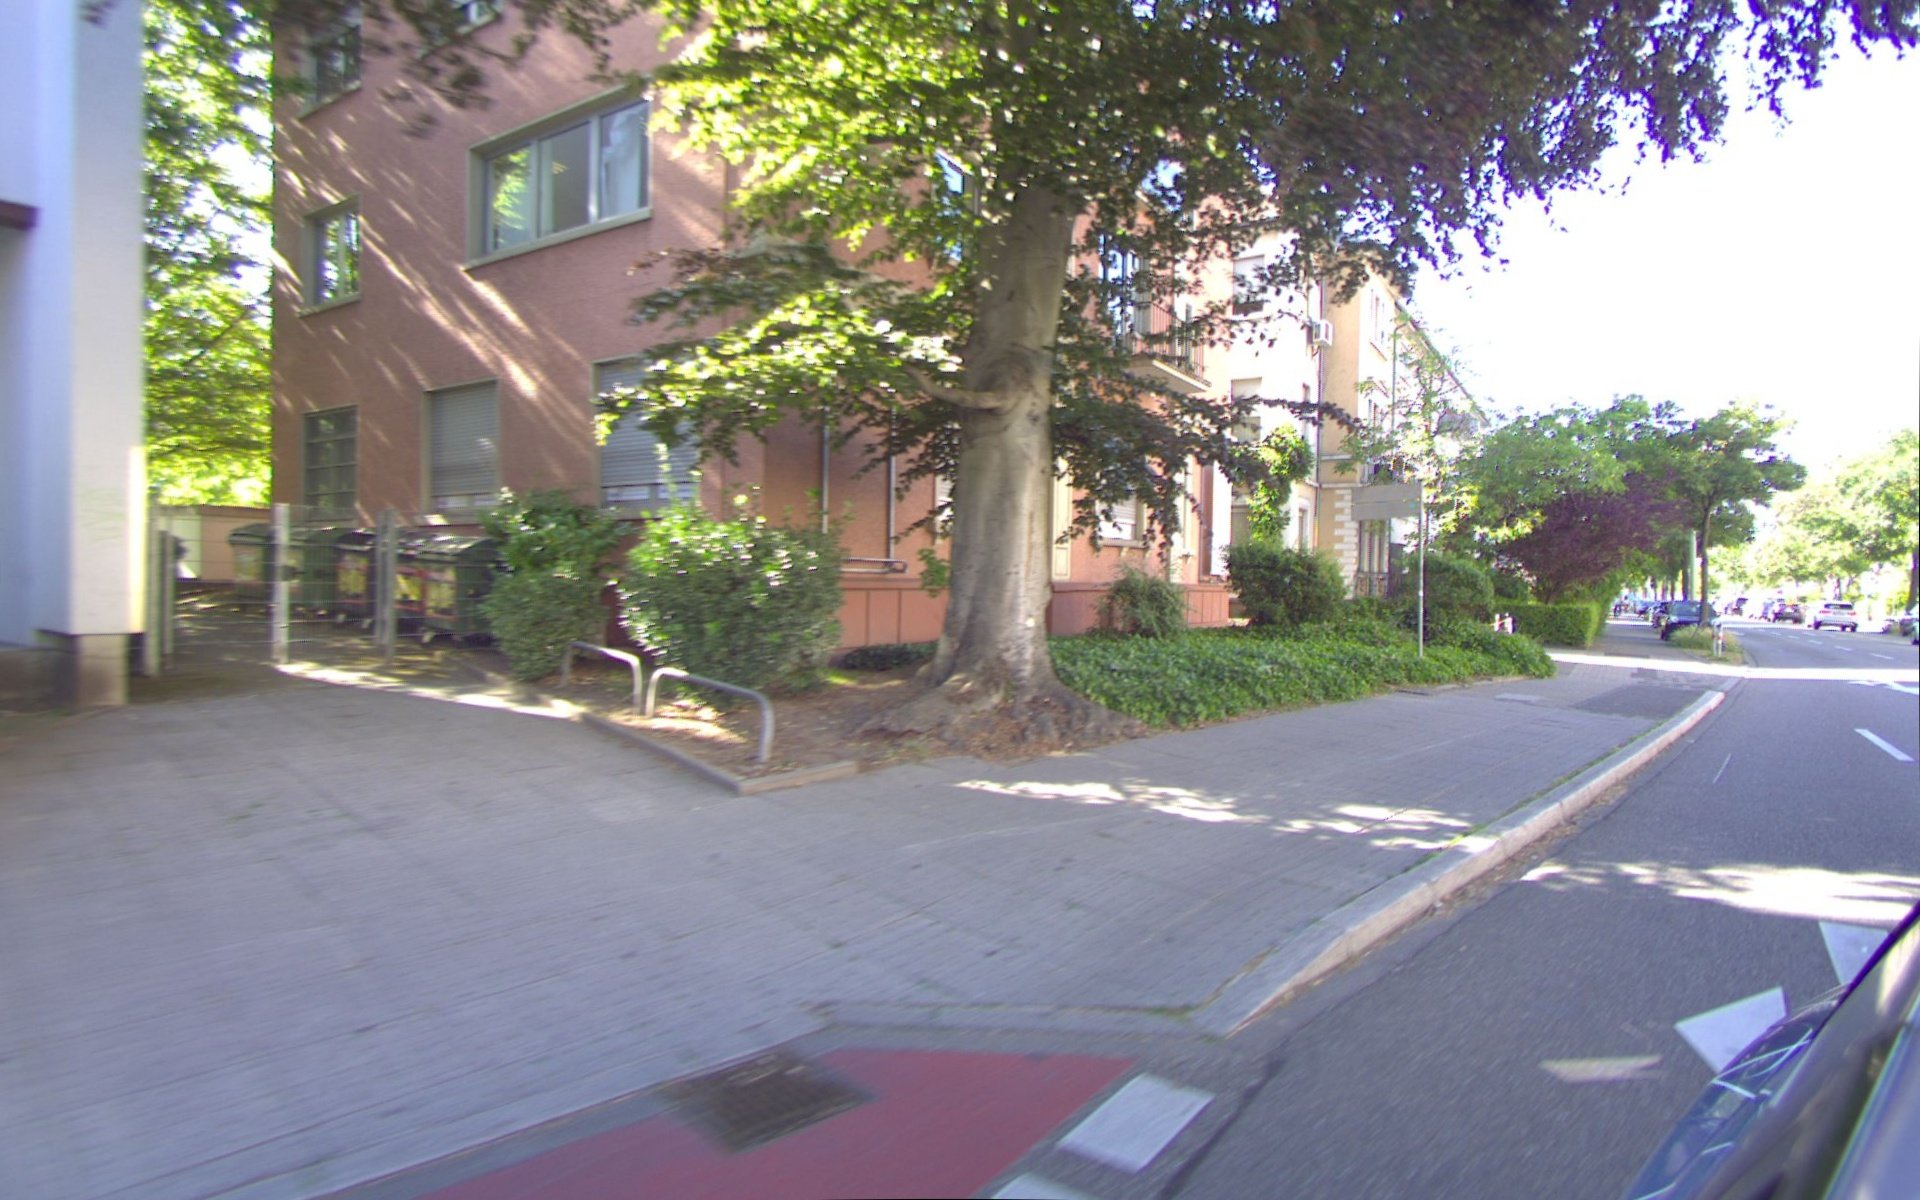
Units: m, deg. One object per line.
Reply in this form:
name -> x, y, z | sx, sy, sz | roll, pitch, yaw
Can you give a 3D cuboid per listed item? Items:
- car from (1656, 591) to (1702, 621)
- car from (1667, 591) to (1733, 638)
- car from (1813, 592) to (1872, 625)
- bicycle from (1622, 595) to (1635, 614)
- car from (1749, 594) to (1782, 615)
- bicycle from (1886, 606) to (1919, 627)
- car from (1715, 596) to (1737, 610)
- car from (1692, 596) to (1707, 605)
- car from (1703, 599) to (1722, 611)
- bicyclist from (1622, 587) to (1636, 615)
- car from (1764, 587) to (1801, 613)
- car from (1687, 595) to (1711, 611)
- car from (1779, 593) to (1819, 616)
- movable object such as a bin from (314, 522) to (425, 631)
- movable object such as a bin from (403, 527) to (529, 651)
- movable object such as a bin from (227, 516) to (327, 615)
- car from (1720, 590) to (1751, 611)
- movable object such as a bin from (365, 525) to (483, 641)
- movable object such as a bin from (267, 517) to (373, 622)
car -> 38.993, 0.308, 54.944 | 1.707, 1.508, 4.186 | 2, 1, 32
car -> 26.866, 0.493, 36.832 | 1.553, 1.533, 3.613 | 4, 2, 32
car -> 50.249, 0.440, 57.696 | 1.800, 1.668, 4.618 | 4, 3, 33
bicycle -> 44.933, 0.309, 68.047 | 0.695, 1.262, 1.800 | 3, 2, 34
car -> 72.644, 0.362, 91.310 | 1.809, 1.764, 4.440 | 4, 3, 33
bicycle -> 51.763, 0.896, 55.037 | 0.453, 1.105, 2.031 | 1, 0, -33
car -> 90.745, 0.352, 119.947 | 1.727, 1.429, 4.141 | 4, 3, 33
car -> 119.827, 0.098, 163.918 | 1.574, 1.469, 3.703 | 2, 1, 31
car -> 100.406, 0.636, 135.022 | 1.574, 1.469, 3.703 | 2, 1, 31
bicyclist -> 45.028, 0.045, 68.143 | 0.721, 1.815, 1.003 | 3, 1, 34
car -> 68.038, -0.029, 83.774 | 1.797, 1.934, 4.655 | 4, 3, 33
car -> 67.666, 0.237, 92.702 | 1.644, 1.373, 4.251 | 2, 1, 34
car -> 62.599, 0.302, 75.571 | 1.713, 1.585, 4.291 | 5, 3, 33
movable object such as a bin -> -8.504, -0.349, 14.567 | 1.281, 1.460, 0.968 | 5, 3, 39
movable object such as a bin -> -6.295, -0.158, 12.893 | 1.281, 1.460, 0.968 | 4, 2, 39
movable object such as a bin -> -10.838, -0.557, 16.053 | 1.281, 1.460, 0.968 | 5, 3, 39
car -> 79.097, 0.080, 103.271 | 2.009, 1.976, 5.118 | 4, 2, 33
movable object such as a bin -> -7.332, -0.243, 13.838 | 1.281, 1.460, 0.968 | 5, 3, 39
movable object such as a bin -> -9.654, -0.467, 15.254 | 1.281, 1.460, 0.968 | 5, 3, 39
